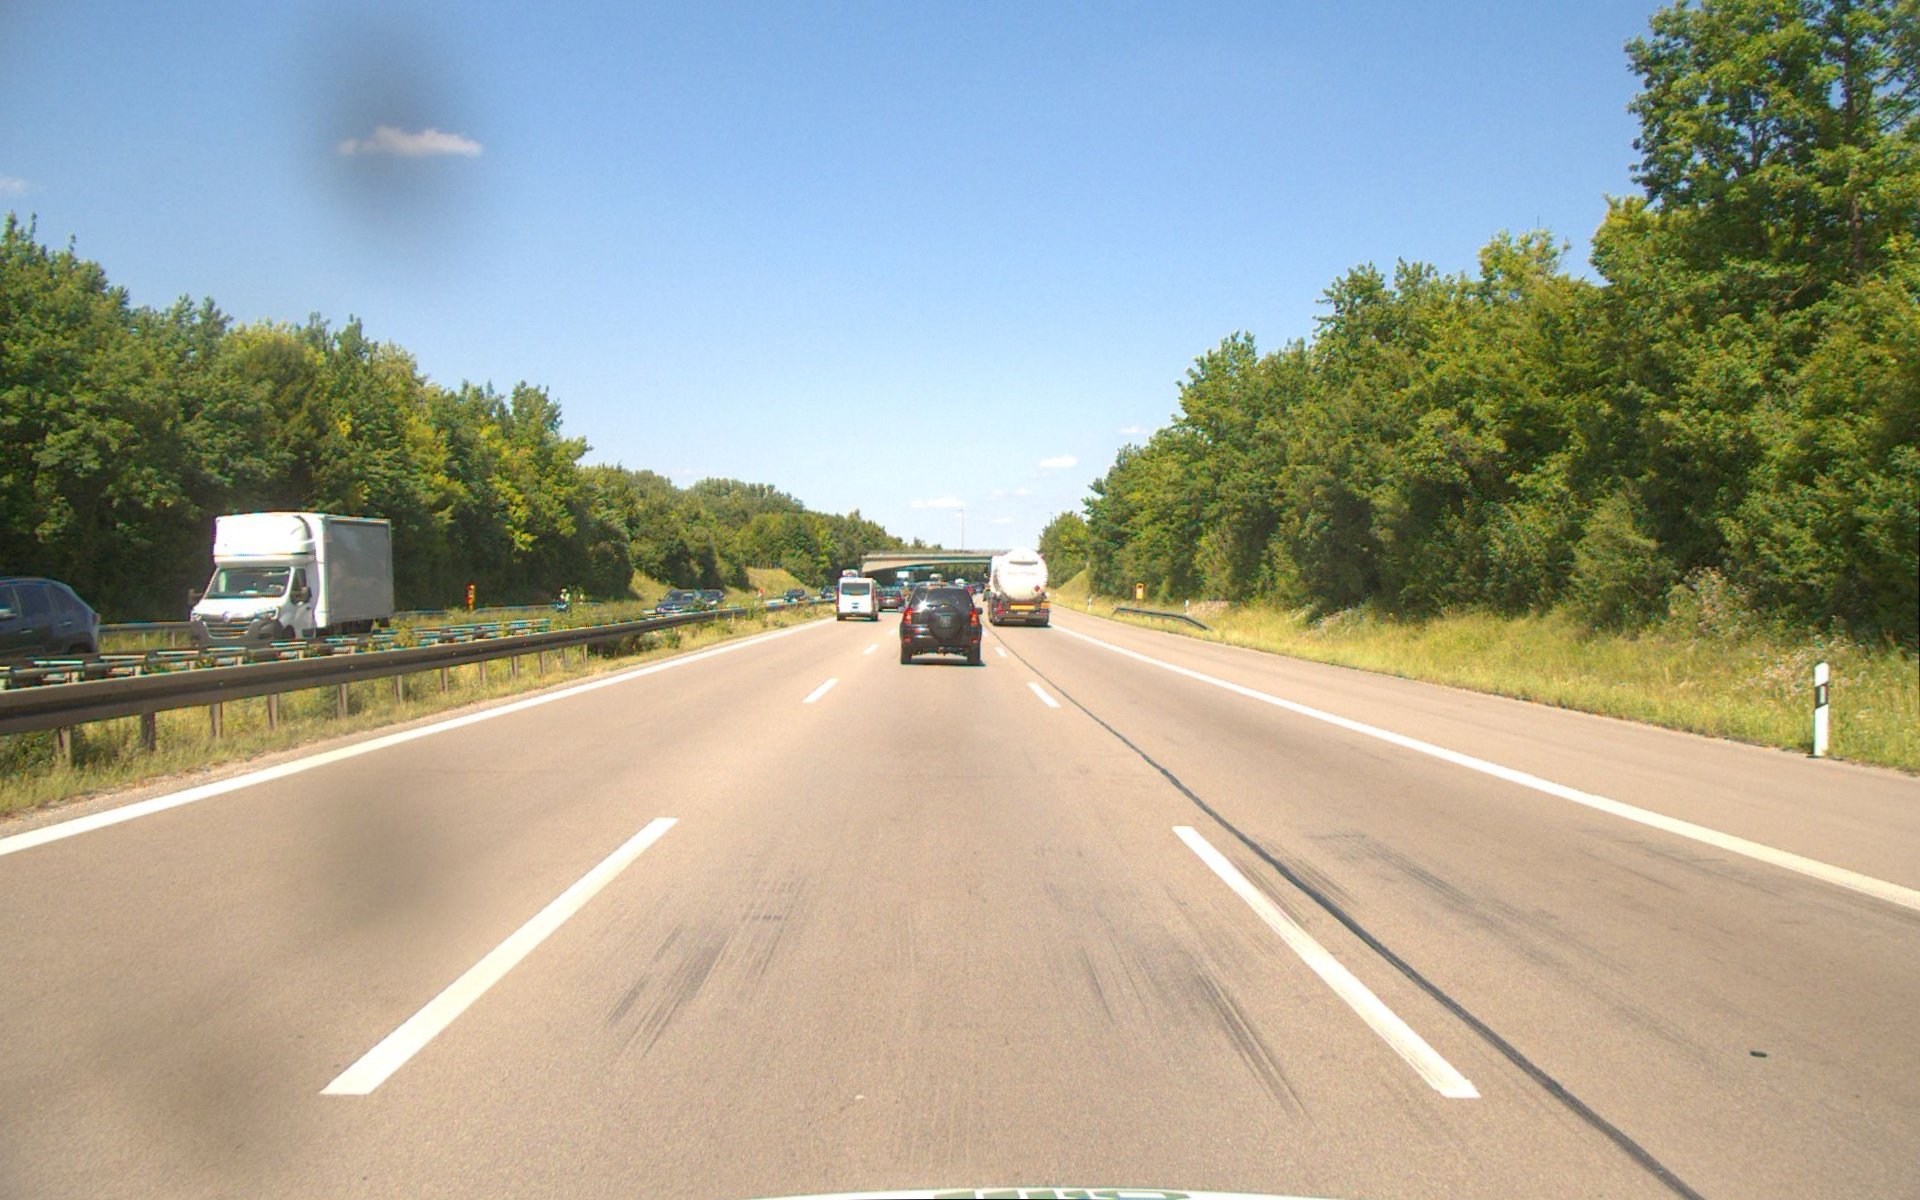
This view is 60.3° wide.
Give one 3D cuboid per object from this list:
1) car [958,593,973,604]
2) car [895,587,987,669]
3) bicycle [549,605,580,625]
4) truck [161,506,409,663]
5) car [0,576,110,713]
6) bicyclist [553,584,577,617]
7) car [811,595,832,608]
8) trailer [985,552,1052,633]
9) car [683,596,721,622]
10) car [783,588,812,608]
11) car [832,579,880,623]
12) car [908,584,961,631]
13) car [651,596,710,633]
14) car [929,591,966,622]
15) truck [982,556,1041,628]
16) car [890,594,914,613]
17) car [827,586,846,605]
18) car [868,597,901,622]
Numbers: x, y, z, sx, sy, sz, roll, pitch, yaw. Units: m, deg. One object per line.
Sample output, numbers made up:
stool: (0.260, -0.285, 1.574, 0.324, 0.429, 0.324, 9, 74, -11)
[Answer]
car: (0.786, -0.214, 230.089, 1.953, 1.601, 3.999, 0, 0, -1)
car: (-0.365, 0.577, 36.365, 1.867, 1.694, 4.001, 0, 0, 1)
bicycle: (-19.318, 0.732, 80.856, 0.883, 0.932, 2.732, 0, -1, -1)
truck: (-15.801, -0.275, 39.482, 2.722, 3.363, 8.055, 0, -1, -1)
car: (-12.390, 0.529, 20.401, 1.742, 1.646, 4.059, 0, 0, -1)
bicyclist: (-19.316, 0.047, 80.846, 0.862, 1.604, 1.286, 0, -1, -1)
car: (-16.333, 0.133, 195.235, 1.953, 1.501, 5.623, 0, 0, 0)
trailer: (2.664, -0.350, 78.012, 2.594, 3.449, 11.150, 1, 0, 0)
car: (-16.518, 0.583, 106.014, 1.829, 1.613, 4.557, 0, 0, -1)
car: (-12.704, -0.170, 129.553, 1.953, 1.547, 4.426, 0, 0, -1)
car: (-4.975, 0.049, 79.943, 1.952, 2.049, 4.950, 0, 0, 0)
car: (-0.956, 0.291, 63.538, 1.953, 1.736, 4.335, 0, 0, 0)
car: (-12.667, 0.651, 75.231, 1.953, 1.626, 4.591, 0, 0, -1)
car: (-0.692, 0.411, 94.485, 1.952, 1.713, 4.001, 0, -1, 2)
truck: (2.545, -0.391, 83.783, 2.584, 3.433, 6.485, 1, 0, -1)
car: (-5.124, 0.316, 146.412, 1.953, 1.601, 3.999, 0, 0, -1)
car: (-12.496, -0.480, 168.017, 1.655, 1.914, 5.018, 0, 0, -1)
car: (-4.860, 0.632, 106.528, 1.953, 1.579, 3.999, 0, -1, -1)
